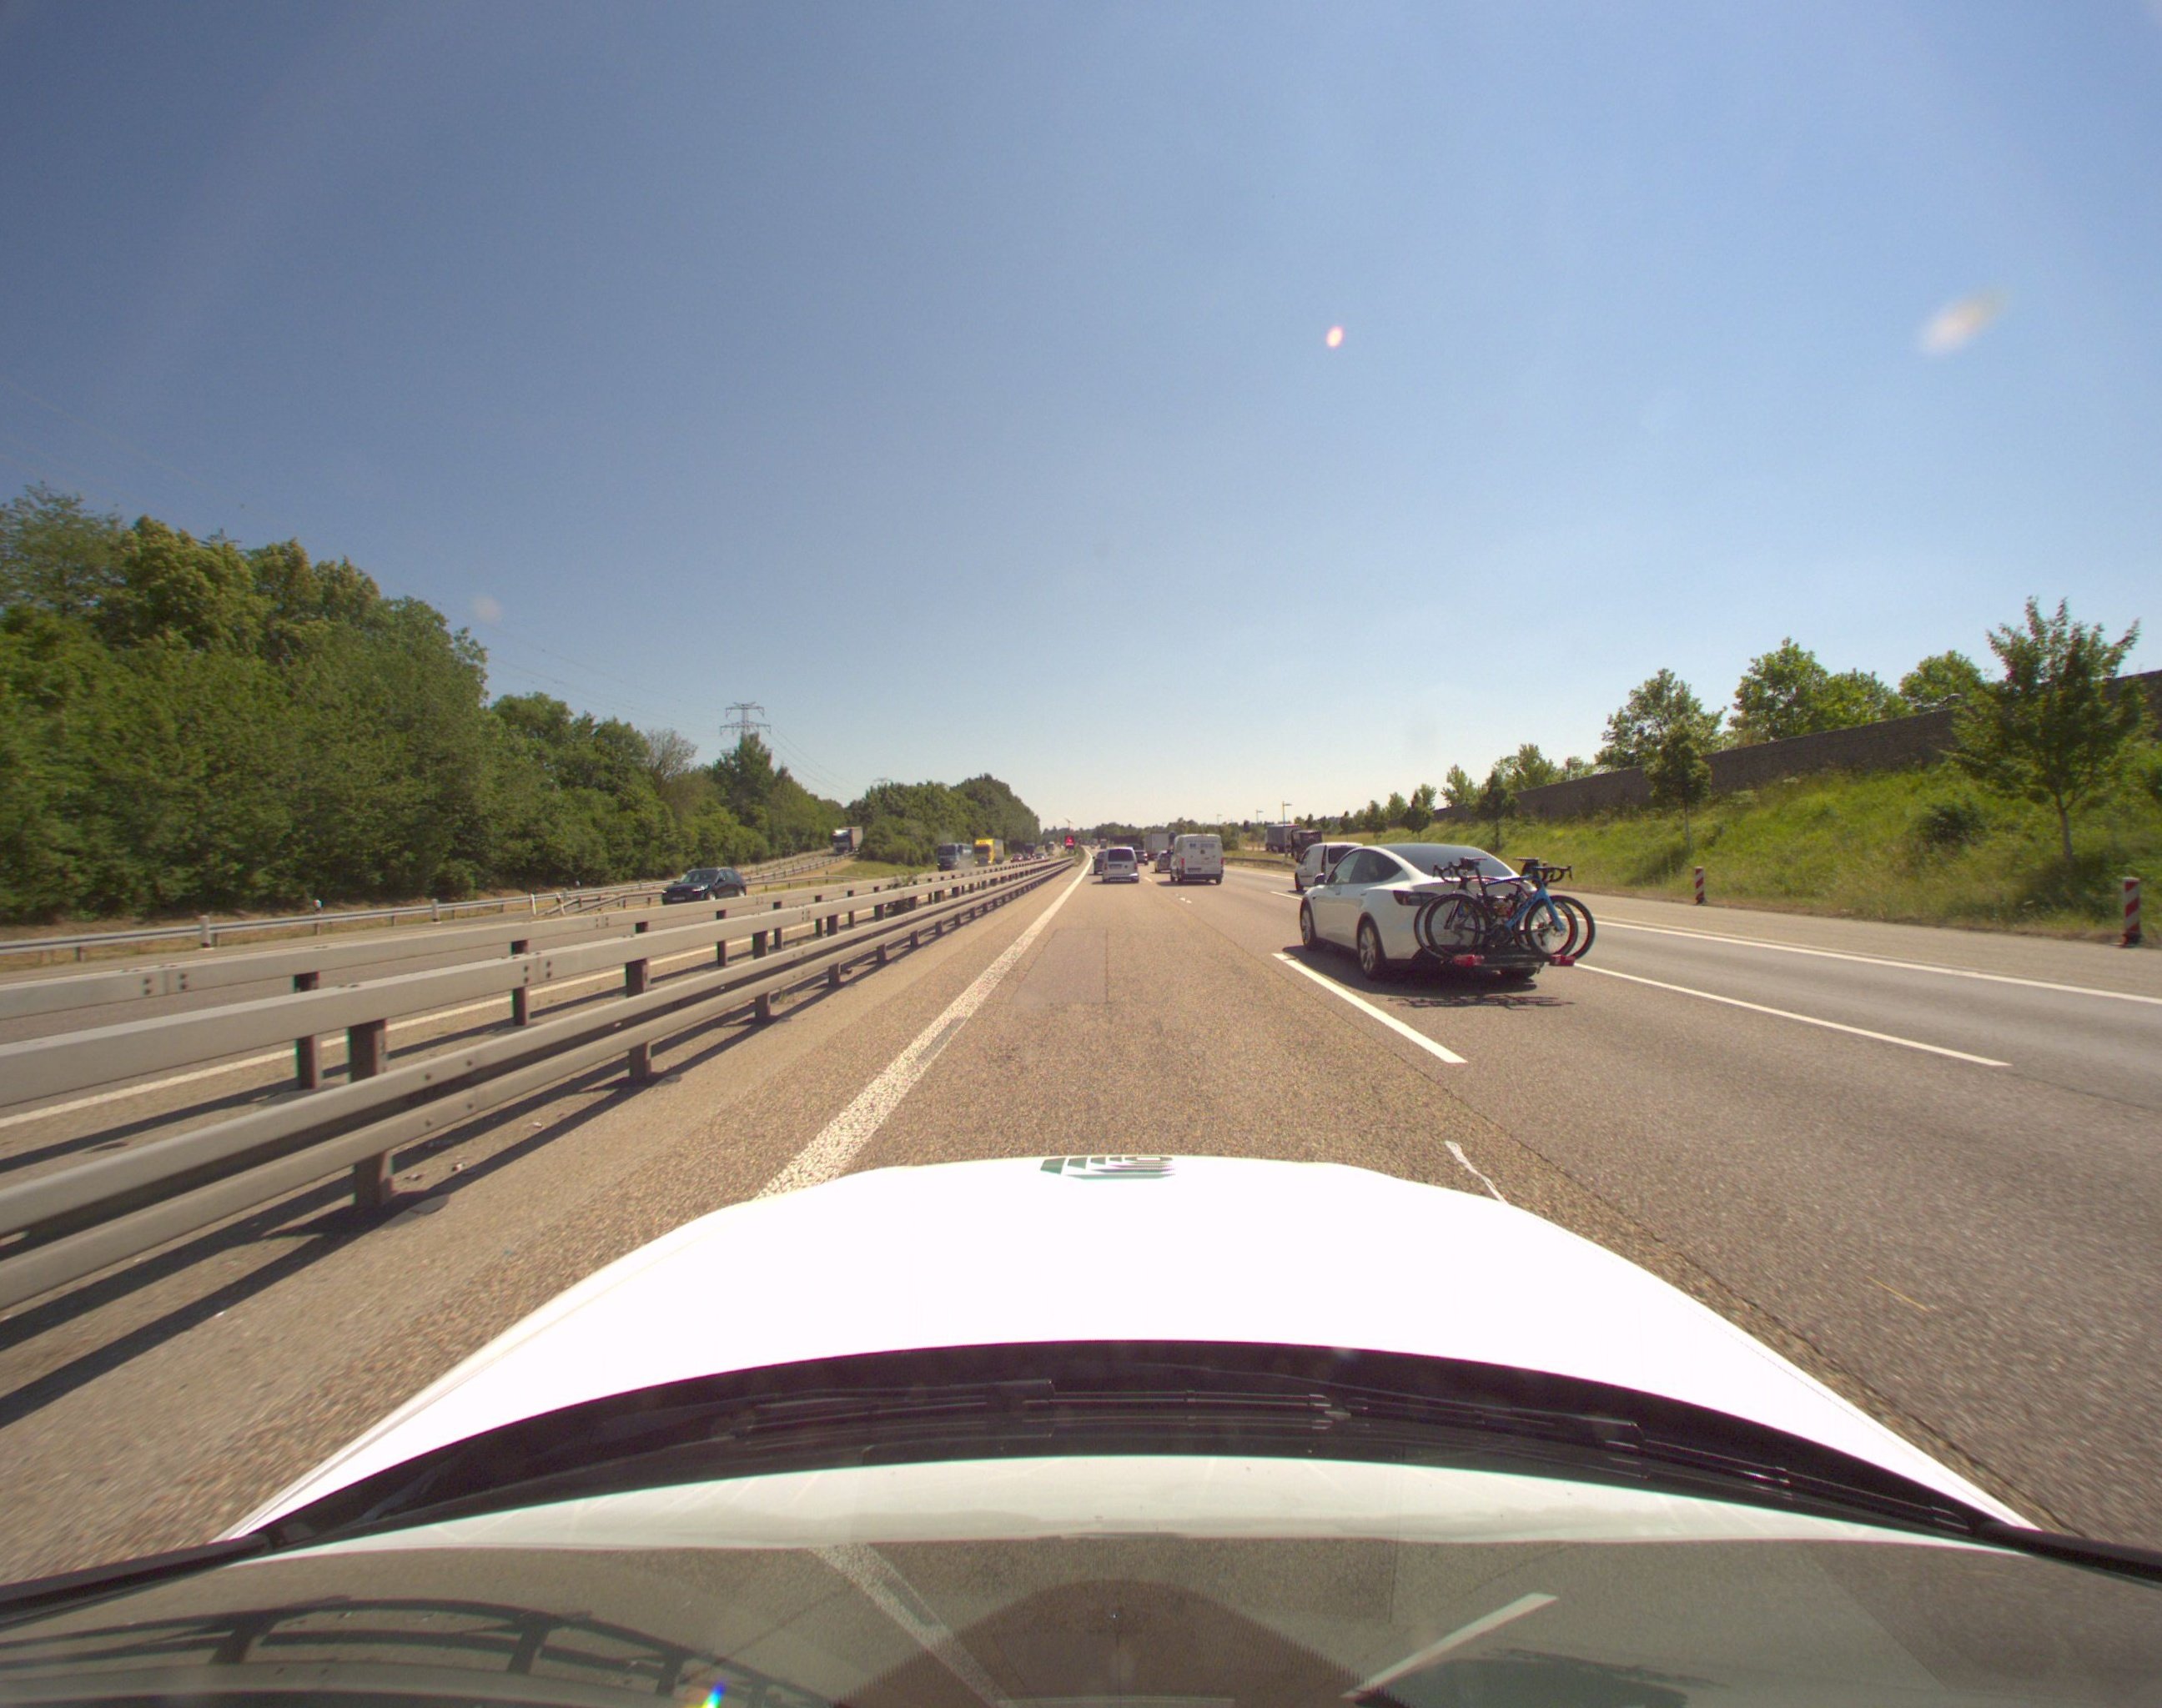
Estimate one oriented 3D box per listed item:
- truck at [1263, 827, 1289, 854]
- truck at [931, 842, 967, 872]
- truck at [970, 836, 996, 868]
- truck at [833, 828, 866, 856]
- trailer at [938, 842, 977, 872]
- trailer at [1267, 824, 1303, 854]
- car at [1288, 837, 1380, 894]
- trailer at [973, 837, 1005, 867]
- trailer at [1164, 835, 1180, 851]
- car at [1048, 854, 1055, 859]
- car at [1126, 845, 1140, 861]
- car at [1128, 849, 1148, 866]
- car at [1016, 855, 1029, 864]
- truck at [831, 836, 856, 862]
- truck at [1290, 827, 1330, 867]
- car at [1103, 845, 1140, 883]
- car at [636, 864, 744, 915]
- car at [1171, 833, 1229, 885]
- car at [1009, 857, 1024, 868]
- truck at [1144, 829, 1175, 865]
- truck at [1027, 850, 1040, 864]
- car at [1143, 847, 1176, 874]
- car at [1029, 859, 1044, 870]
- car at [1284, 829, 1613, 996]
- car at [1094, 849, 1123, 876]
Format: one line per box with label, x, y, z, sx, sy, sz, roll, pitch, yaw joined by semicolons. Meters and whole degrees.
truck;31.403;-2.114;131.203;3.038;4.083;6.406;0;0;4
truck;-14.860;0.335;91.989;2.903;3.300;5.332;-2;0;1
truck;-14.155;-0.291;117.730;3.165;4.341;3.512;-2;0;-1
truck;-37.927;-2.131;133.975;2.993;4.340;14.513;-2;2;-7
trailer;-14.718;0.387;98.010;2.903;3.300;9.713;-2;0;1
trailer;30.772;-2.133;123.353;3.038;4.083;14.275;0;0;5
car;8.963;0.391;29.256;1.944;1.838;4.177;-2;0;0
trailer;-14.144;-0.297;126.392;3.164;4.341;13.809;-2;0;0
trailer;26.026;-3.158;233.237;2.597;4.258;18.421;0;0;0
car;-8.544;0.686;233.476;1.763;1.334;4.921;-3;0;1
car;6.516;-0.162;102.649;1.668;1.891;4.090;-2;0;2
car;5.931;0.343;84.815;1.894;1.672;4.090;-2;0;2
car;-10.299;0.969;144.705;1.705;1.468;4.149;-4;0;3
truck;-37.030;-0.762;127.037;2.941;3.895;4.314;-2;2;-7
truck;25.455;-0.689;91.068;3.762;4.083;12.562;0;0;13
car;2.010;0.498;40.859;1.738;1.764;4.090;-2;0;2
car;-15.759;1.378;33.122;2.151;1.800;4.512;-3;0;-1
car;5.567;0.230;38.764;2.173;2.254;5.366;0;0;2
car;-9.806;1.278;123.661;1.776;1.530;4.385;-4;0;1
truck;11.385;-0.883;119.125;3.773;5.000;12.524;0;0;2
truck;-12.432;0.860;213.994;2.986;3.558;3.118;-2;0;0
car;5.429;0.429;56.494;1.968;1.733;4.090;-2;0;2
car;-6.634;1.542;121.720;1.775;1.624;4.001;-2;0;1
car;4.304;0.582;10.794;1.943;1.636;5.601;0;0;1
car;1.852;0.546;54.179;1.738;1.701;4.091;-2;0;2
